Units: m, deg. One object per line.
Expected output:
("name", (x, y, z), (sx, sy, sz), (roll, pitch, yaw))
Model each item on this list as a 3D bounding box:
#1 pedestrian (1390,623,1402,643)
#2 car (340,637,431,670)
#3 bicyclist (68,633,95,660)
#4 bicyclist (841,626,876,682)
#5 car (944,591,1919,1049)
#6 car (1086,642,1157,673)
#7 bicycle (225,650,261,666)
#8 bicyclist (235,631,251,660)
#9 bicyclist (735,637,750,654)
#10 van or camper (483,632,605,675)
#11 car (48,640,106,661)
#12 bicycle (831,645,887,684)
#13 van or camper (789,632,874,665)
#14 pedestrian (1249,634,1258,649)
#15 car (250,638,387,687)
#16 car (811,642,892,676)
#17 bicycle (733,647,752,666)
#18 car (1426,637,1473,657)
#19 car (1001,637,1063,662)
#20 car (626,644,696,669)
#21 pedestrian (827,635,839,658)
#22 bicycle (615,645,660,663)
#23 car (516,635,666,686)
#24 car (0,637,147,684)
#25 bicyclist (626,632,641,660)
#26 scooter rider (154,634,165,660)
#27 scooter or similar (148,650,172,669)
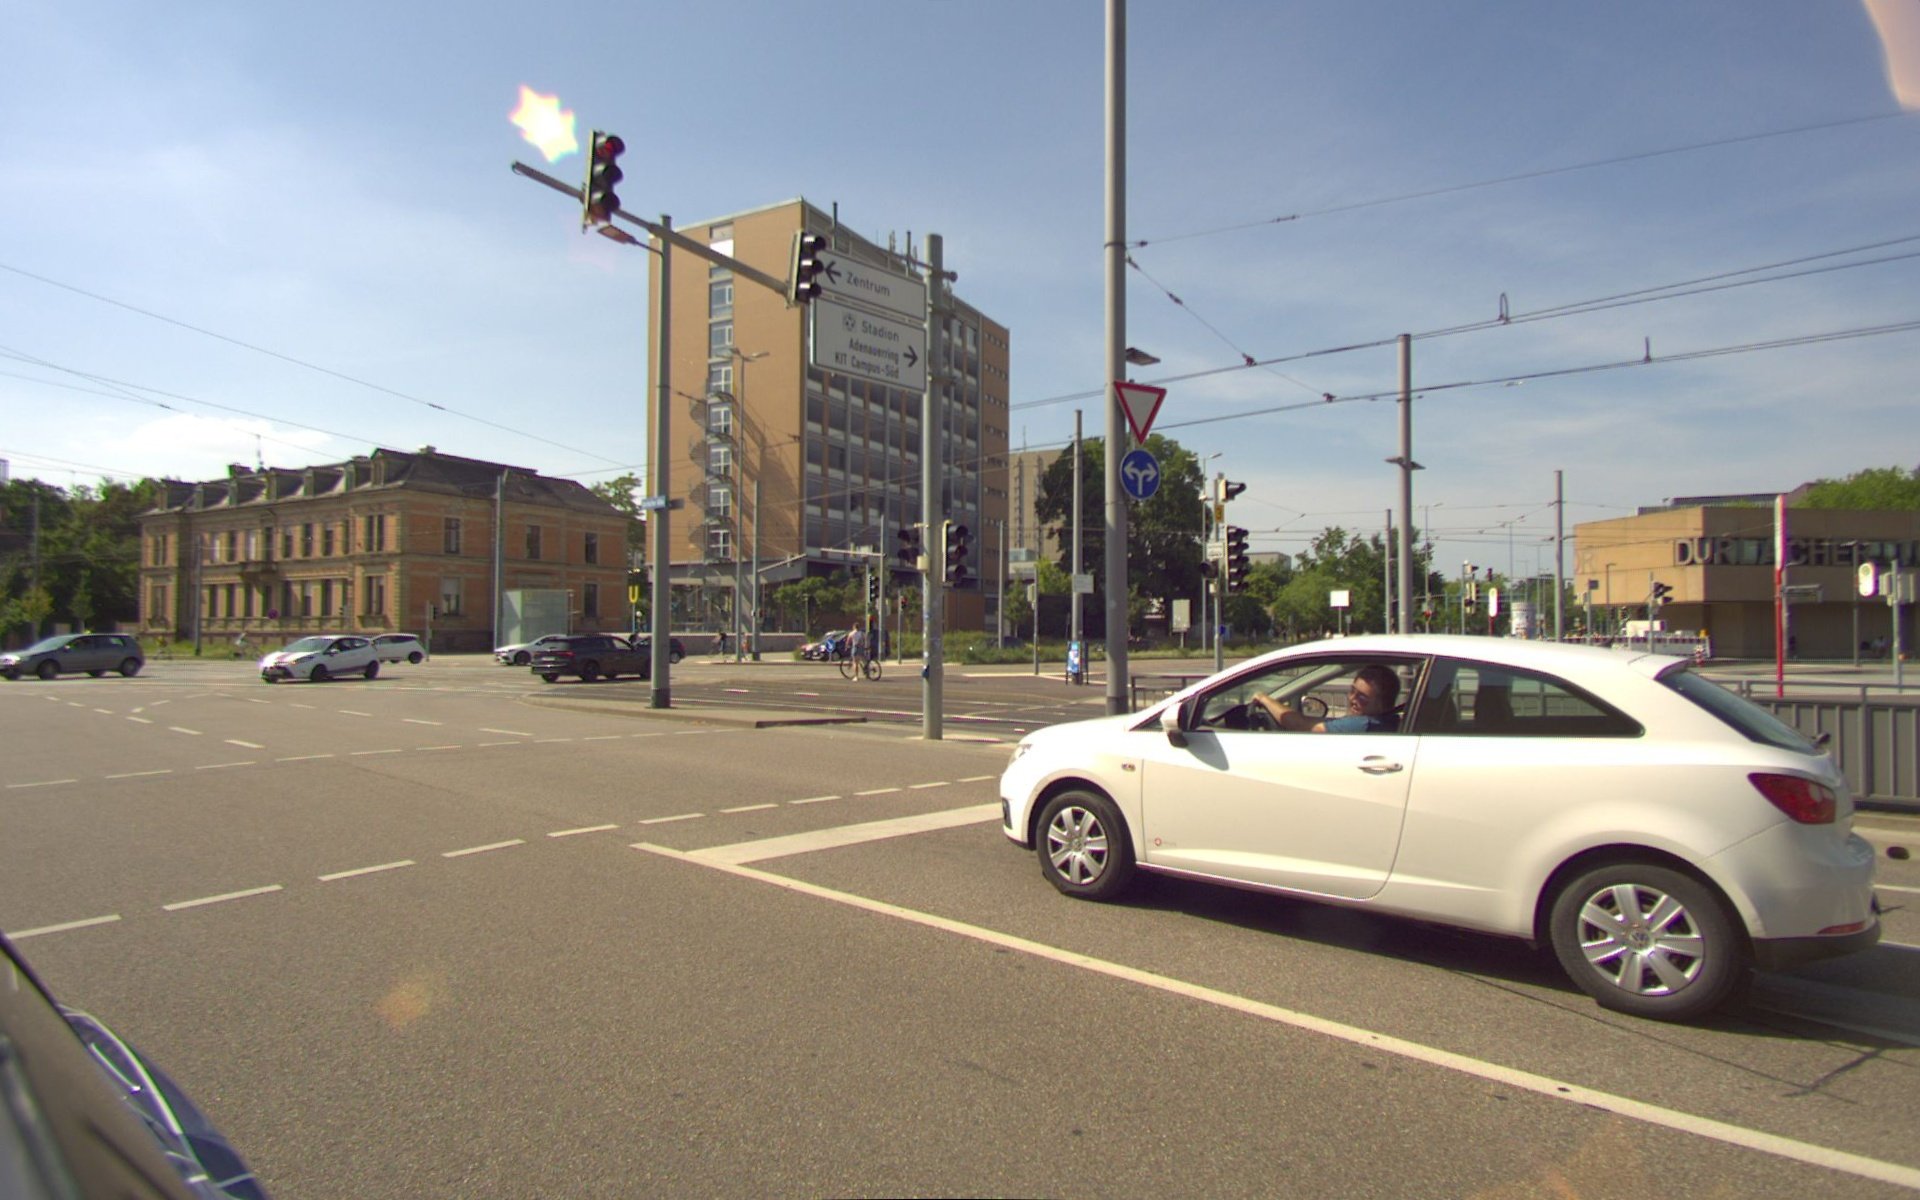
("pedestrian", (36.903, 2.812, 85.677), (0.739, 1.686, 0.543), (1, -3, -32))
("car", (-27.569, 2.541, 48.627), (3.695, 1.486, 1.688), (1, -2, -30))
("bicyclist", (-46.953, 2.496, 54.122), (0.894, 1.431, 0.687), (0, -4, -21))
("bicyclist", (-3.147, 1.662, 31.403), (0.740, 1.697, 0.777), (2, -1, -42))
("car", (2.045, 0.811, 5.119), (4.122, 1.409, 1.736), (-2, -7, 41))
("car", (10.361, 3.629, 64.789), (4.357, 1.896, 2.005), (1, -3, -36))
("bicycle", (-40.227, 3.262, 56.794), (1.559, 0.872, 0.503), (1, -5, -27))
("bicyclist", (-40.257, 2.555, 56.837), (0.638, 1.633, 0.503), (1, -5, -27))
("bicyclist", (-13.179, 2.759, 61.445), (0.707, 1.036, 0.916), (0, 0, 2))
("van or camper", (-19.128, 2.437, 46.605), (4.844, 1.902, 1.924), (2, -3, -40))
("car", (-58.506, 3.345, 67.067), (3.433, 1.323, 1.658), (-1, -3, 25))
("bicycle", (-3.145, 1.975, 31.375), (0.740, 1.092, 1.851), (2, -1, -42))
("van or camper", (-7.723, 2.887, 61.141), (4.841, 1.902, 1.734), (1, -3, -36))
("pedestrian", (28.067, 3.962, 96.876), (0.643, 1.457, 0.562), (-1, -1, 37))
("car", (-20.106, 1.934, 31.900), (1.635, 1.425, 3.857), (0, -2, 5))
("car", (-5.915, 3.189, 55.353), (3.931, 1.807, 1.970), (1, -3, -29))
("bicycle", (-13.178, 3.422, 61.401), (0.707, 1.023, 1.918), (0, 0, 1))
("car", (34.253, 3.271, 70.771), (3.939, 1.296, 1.601), (2, -5, -43))
("car", (4.907, 3.373, 69.230), (3.934, 1.630, 1.915), (1, -3, -36))
("car", (-16.566, 3.103, 56.135), (3.519, 1.305, 1.414), (1, -2, -28))
("pedestrian", (-9.437, 3.475, 75.069), (0.719, 1.677, 0.595), (0, -1, -32))
("bicycle", (-19.123, 3.199, 60.061), (2.424, 1.077, 0.670), (0, -2, -8))
("car", (-11.435, 1.875, 31.675), (1.751, 1.467, 4.381), (-1, -3, 27))
("car", (-29.694, 2.013, 33.513), (1.639, 1.435, 4.093), (-3, -4, 19))
("bicyclist", (-19.322, 2.743, 59.950), (0.770, 1.636, 0.670), (0, -1, -9))
("scooter rider", (-44.713, 2.622, 56.504), (0.400, 1.408, 0.590), (1, -4, -32))
("scooter or similar", (-44.641, 3.323, 56.481), (0.975, 0.983, 0.590), (0, -4, -32))
